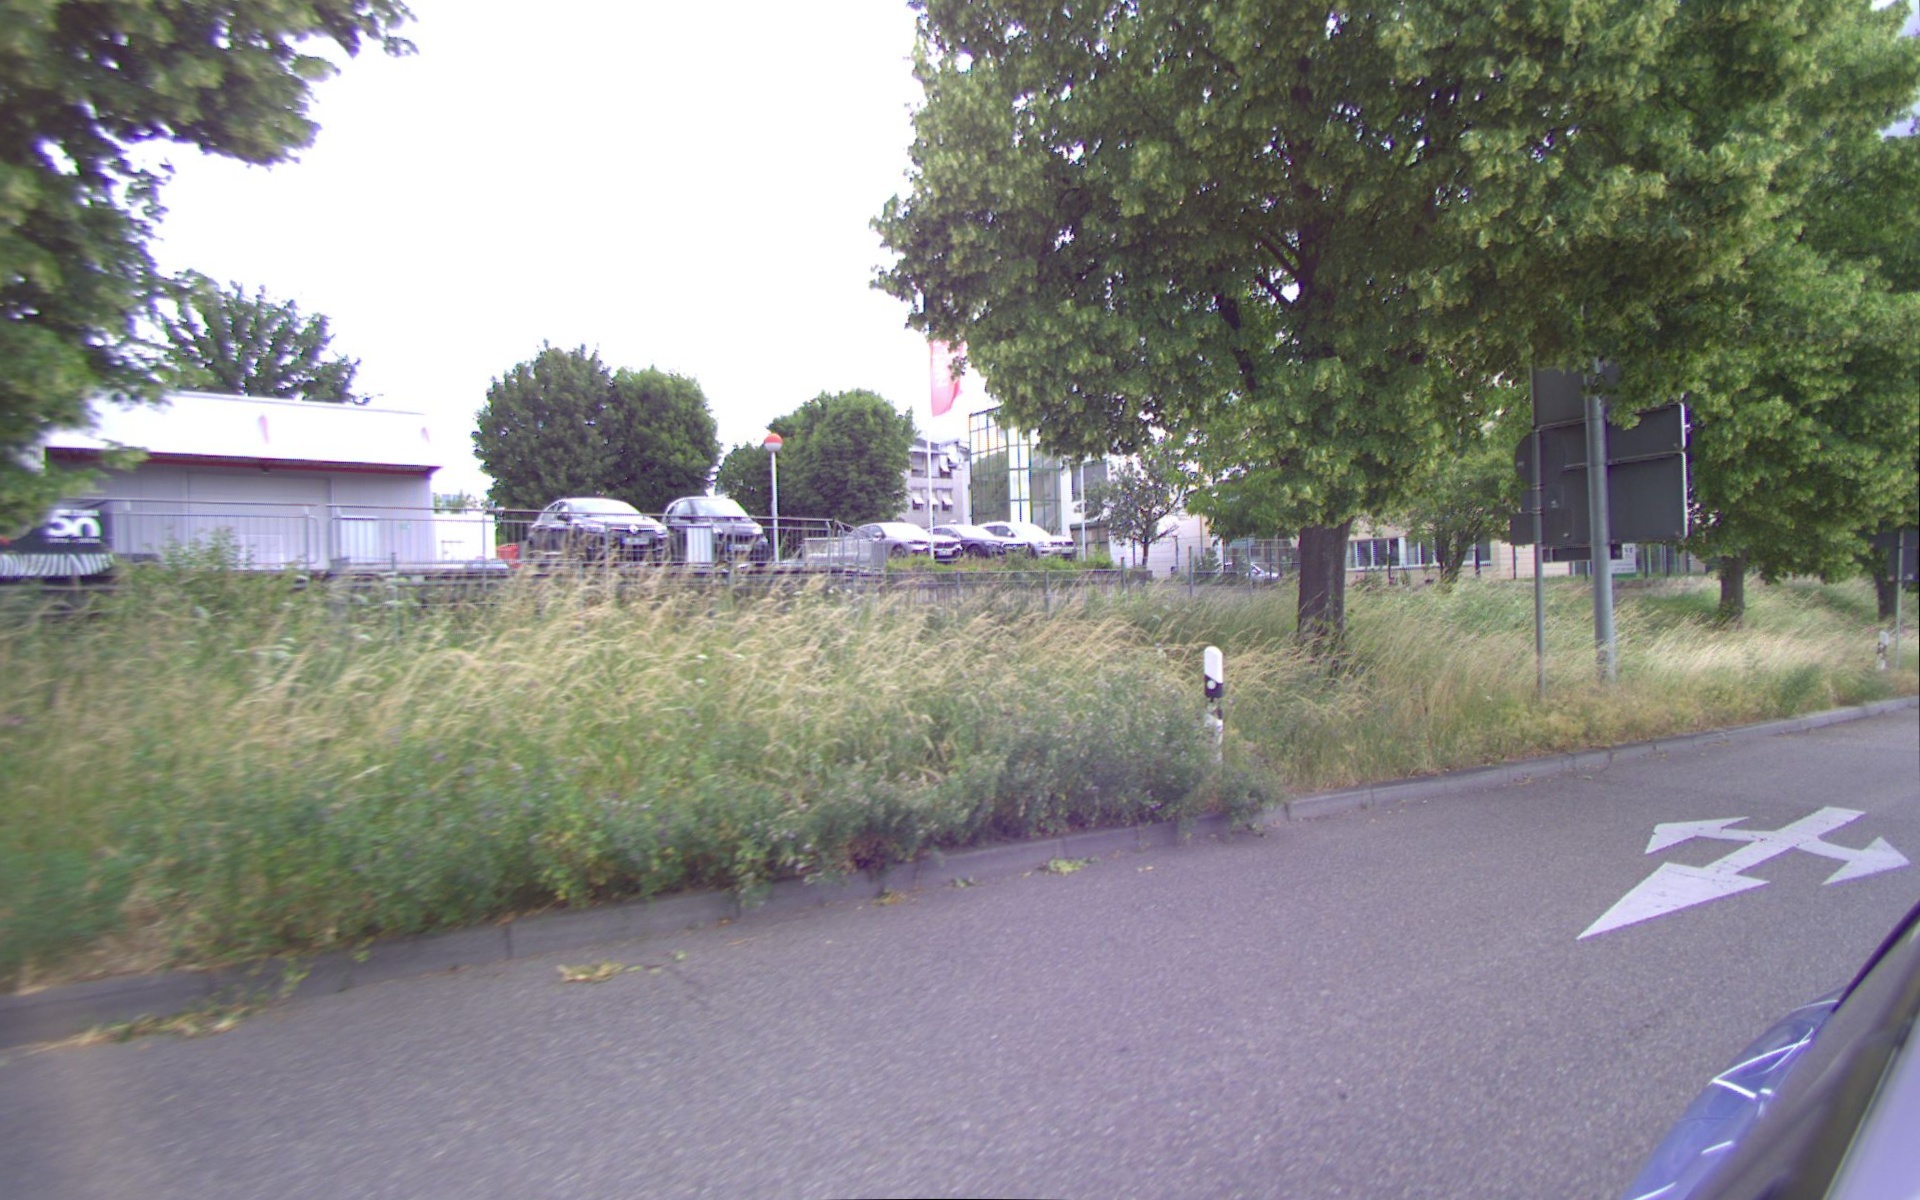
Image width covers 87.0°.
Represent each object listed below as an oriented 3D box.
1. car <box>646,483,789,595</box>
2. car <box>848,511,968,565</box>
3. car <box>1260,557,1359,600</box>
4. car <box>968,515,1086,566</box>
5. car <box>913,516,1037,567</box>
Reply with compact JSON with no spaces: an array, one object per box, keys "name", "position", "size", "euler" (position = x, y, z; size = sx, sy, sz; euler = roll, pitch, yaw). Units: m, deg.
[{"name":"car","position":[-5.114,-1.165,21.006],"size":[1.611,1.984,3.766],"euler":[1,-2,-35]},{"name":"car","position":[-1.552,-1.736,29.038],"size":[1.722,1.381,3.768],"euler":[1,1,-35]},{"name":"car","position":[13.452,-0.791,39.087],"size":[1.546,1.529,3.371],"euler":[1,-1,-32]},{"name":"car","position":[2.090,-1.866,32.768],"size":[1.722,1.501,3.939],"euler":[1,1,-35]},{"name":"car","position":[0.383,-1.697,30.416],"size":[1.722,1.385,3.939],"euler":[1,1,-35]}]
